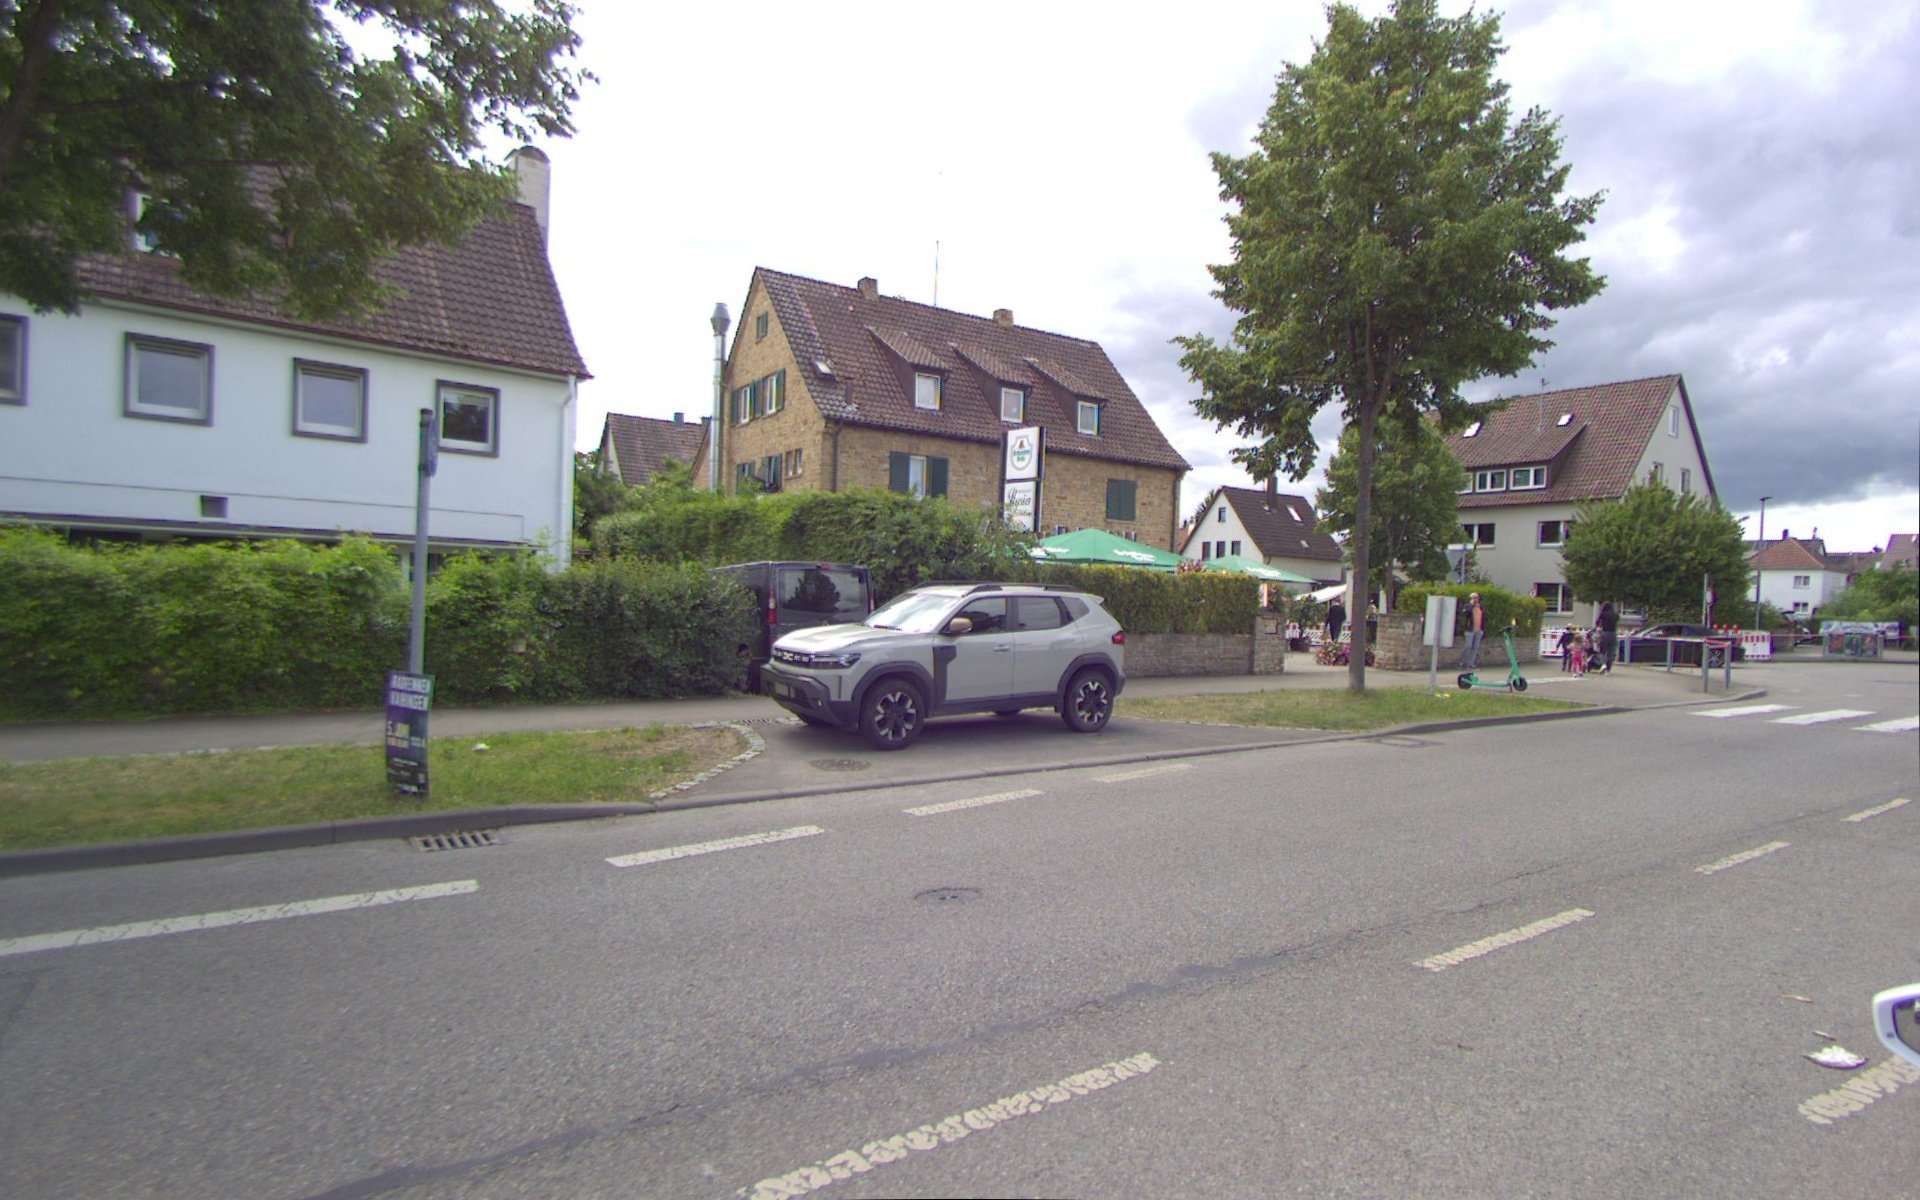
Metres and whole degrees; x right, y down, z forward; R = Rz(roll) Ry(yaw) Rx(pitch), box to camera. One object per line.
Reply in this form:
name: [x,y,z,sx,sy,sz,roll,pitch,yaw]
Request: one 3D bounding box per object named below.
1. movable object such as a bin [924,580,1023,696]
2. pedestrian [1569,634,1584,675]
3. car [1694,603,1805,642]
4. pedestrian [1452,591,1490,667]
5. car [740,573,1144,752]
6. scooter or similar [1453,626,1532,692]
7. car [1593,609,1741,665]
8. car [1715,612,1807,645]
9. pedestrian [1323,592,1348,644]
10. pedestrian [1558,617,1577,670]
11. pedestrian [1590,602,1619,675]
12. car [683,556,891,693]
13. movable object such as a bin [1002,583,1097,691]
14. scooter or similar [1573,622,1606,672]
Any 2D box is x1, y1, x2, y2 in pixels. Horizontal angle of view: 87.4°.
movable object such as a bin: [0.197,0.571,15.736,0.988,1.673,1.197,1,3,-35]
pedestrian: [14.155,1.246,23.055,0.234,0.906,0.259,2,1,24]
car: [35.407,0.997,45.134,1.580,1.632,3.573,1,0,-29]
pedestrian: [12.249,0.692,24.084,0.553,1.808,0.539,1,0,-17]
car: [-0.116,0.599,11.343,4.251,1.676,1.848,1,1,-35]
scooter or similar: [9.858,1.078,18.613,1.264,1.154,0.347,1,0,27]
car: [22.699,1.163,32.364,3.549,1.656,1.574,1,0,16]
car: [36.901,1.288,46.318,1.323,1.400,3.028,1,0,-29]
pedestrian: [11.539,0.553,30.873,0.639,1.560,0.509,1,0,25]
pedestrian: [14.803,1.058,24.485,0.336,1.261,0.354,1,0,24]
pedestrian: [15.175,0.895,23.666,0.474,1.692,0.515,1,0,24]
car: [-2.929,0.337,16.330,1.978,1.917,3.965,1,0,-32]
movable object such as a bin: [1.488,0.600,16.806,0.988,1.673,1.197,1,3,-35]
scooter or similar: [15.296,1.131,24.418,0.399,1.110,0.970,3,2,19]
